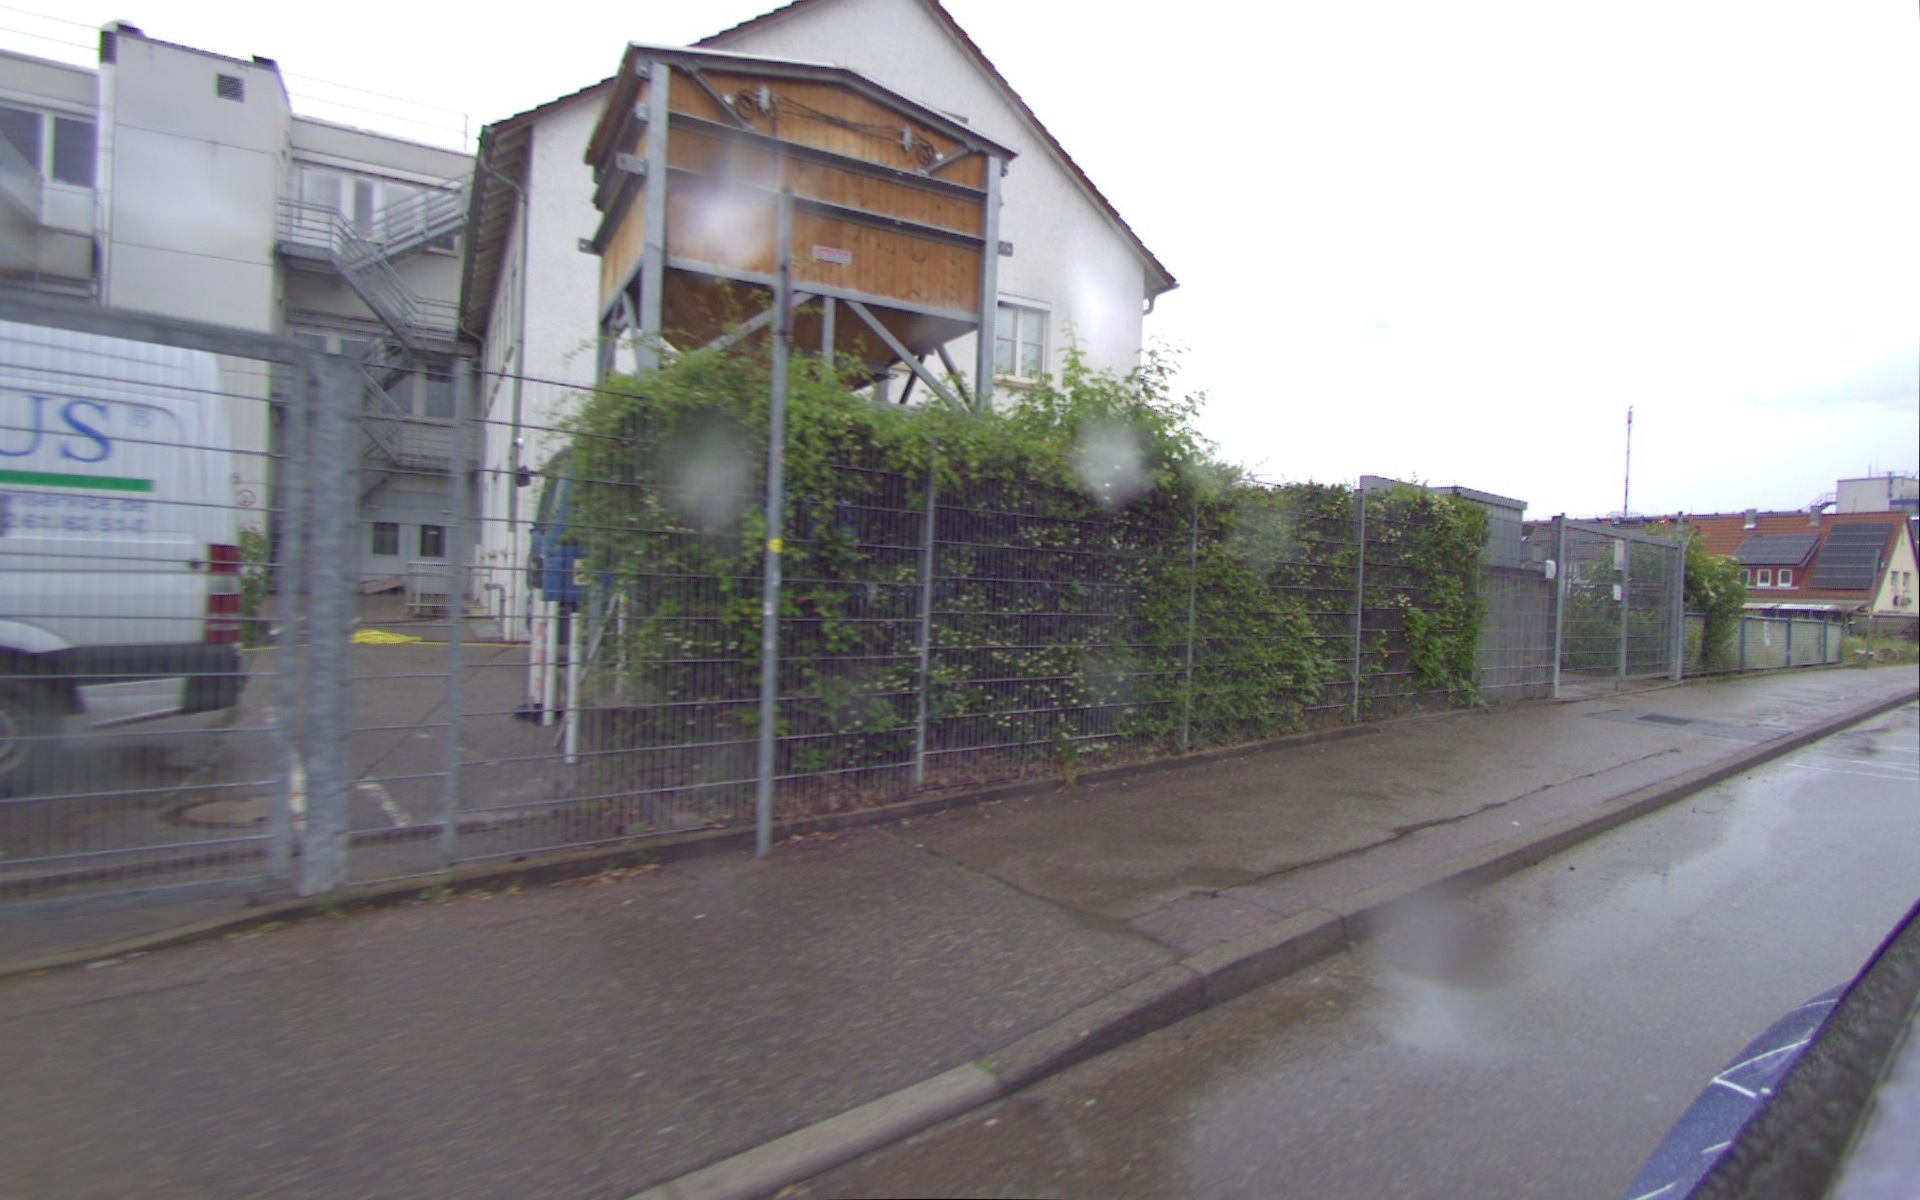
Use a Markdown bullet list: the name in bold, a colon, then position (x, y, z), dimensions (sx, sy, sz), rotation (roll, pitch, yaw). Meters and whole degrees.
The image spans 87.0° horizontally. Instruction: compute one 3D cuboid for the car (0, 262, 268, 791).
- **car**: position (-6.873, -0.458, 4.550), dimensions (1.994, 2.717, 5.859), rotation (5, 2, 43)
